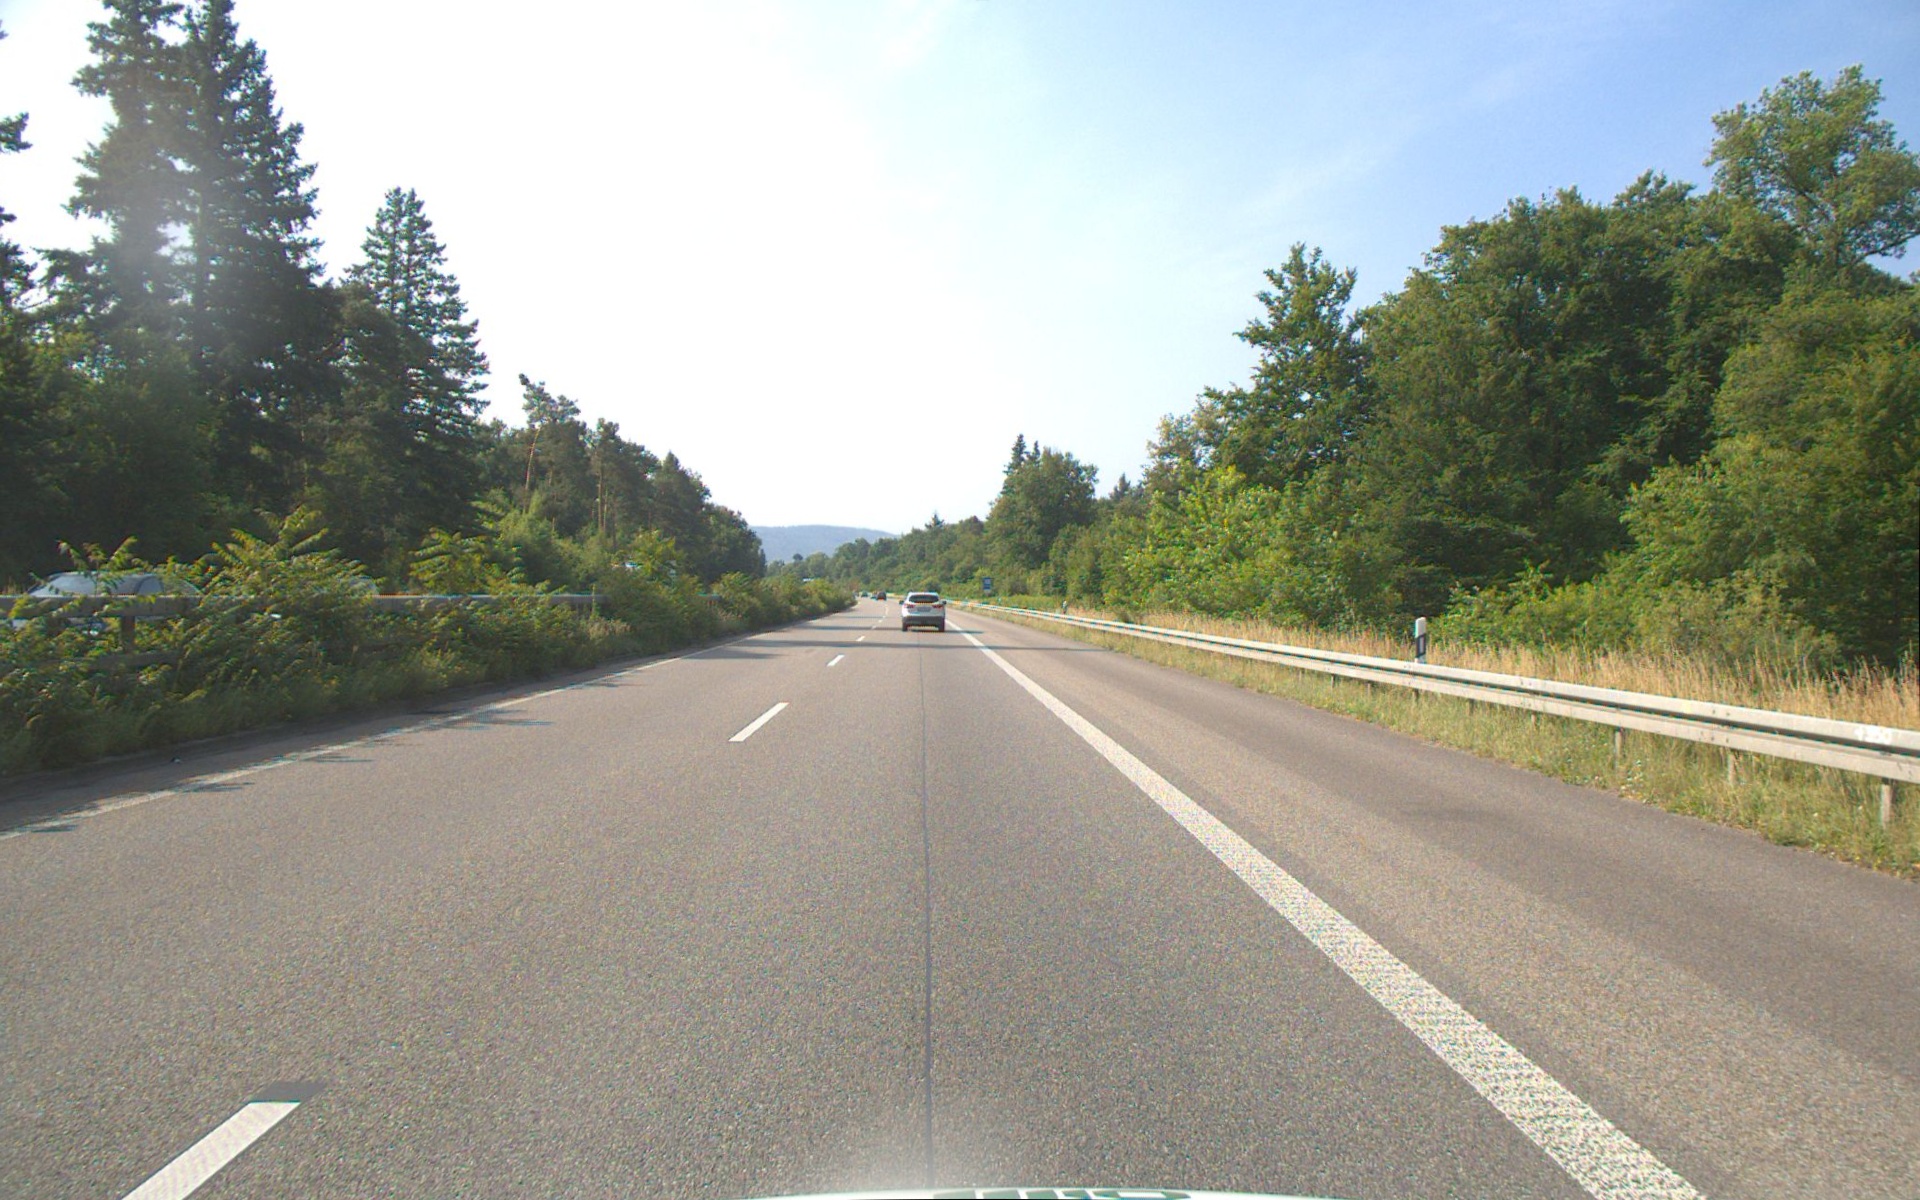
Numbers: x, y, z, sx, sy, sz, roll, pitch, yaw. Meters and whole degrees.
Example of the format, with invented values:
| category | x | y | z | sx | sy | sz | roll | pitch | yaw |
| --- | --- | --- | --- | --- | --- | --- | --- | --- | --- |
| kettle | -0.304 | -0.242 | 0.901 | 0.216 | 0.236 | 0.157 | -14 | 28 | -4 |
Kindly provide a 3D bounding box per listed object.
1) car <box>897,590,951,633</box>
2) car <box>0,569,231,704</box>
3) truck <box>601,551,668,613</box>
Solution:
| category | x | y | z | sx | sy | sz | roll | pitch | yaw |
| --- | --- | --- | --- | --- | --- | --- | --- | --- | --- |
| car | -1.520 | 0.458 | 68.481 | 1.837 | 1.614 | 3.995 | 3 | 0 | -6 |
| car | -11.301 | 0.430 | 21.942 | 1.709 | 1.615 | 3.664 | 1 | 0 | -2 |
| truck | -17.808 | -0.983 | 90.813 | 2.412 | 3.232 | 7.225 | -1 | 0 | -2 |
